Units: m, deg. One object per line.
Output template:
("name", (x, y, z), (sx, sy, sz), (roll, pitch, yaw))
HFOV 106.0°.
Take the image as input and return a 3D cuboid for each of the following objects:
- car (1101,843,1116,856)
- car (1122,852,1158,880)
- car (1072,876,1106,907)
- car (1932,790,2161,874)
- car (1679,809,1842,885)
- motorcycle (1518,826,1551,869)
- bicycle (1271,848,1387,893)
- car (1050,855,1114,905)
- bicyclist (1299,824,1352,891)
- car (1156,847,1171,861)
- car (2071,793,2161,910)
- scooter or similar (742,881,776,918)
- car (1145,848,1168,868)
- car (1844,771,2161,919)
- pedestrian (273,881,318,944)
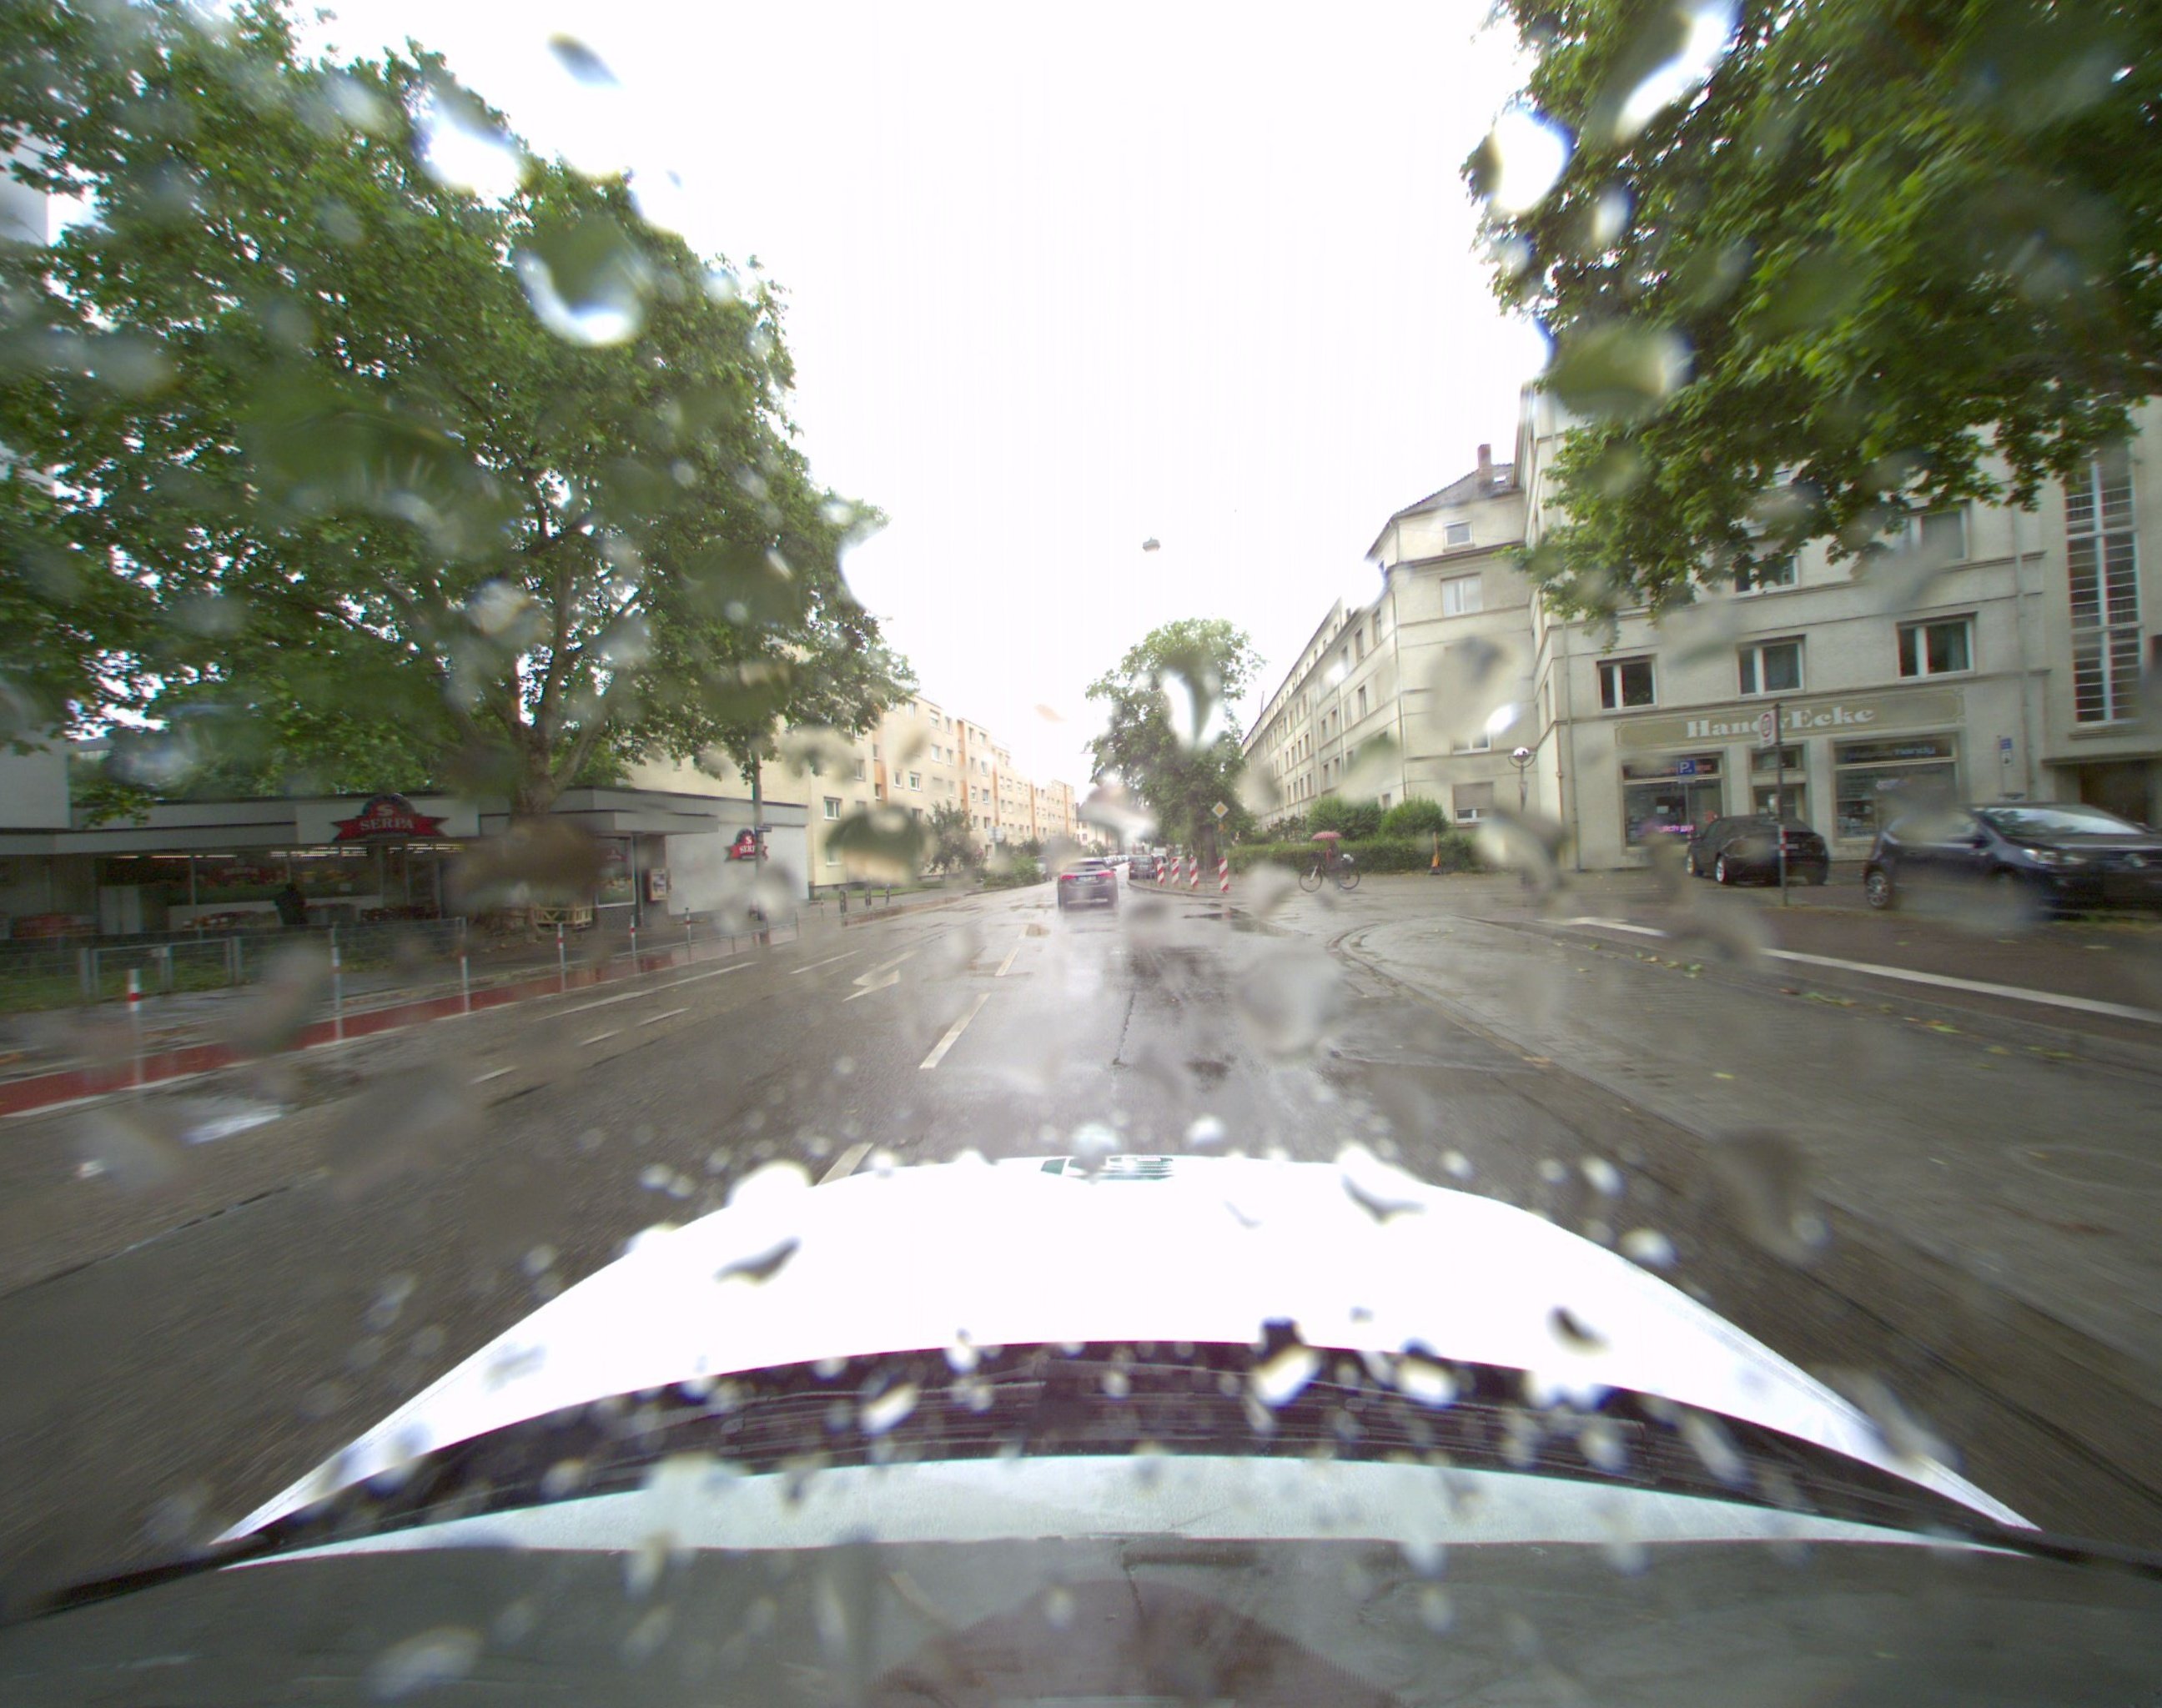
("car", (4.291, -0.720, 126.354), (1.880, 1.836, 4.007), (-3, -1, 6))
("car", (3.643, 0.712, 50.715), (1.986, 1.574, 4.001), (-3, -1, 1))
("car", (0.480, 1.958, 43.387), (1.601, 1.372, 4.003), (-4, 0, 2))
("car", (21.586, -0.461, 18.228), (1.975, 1.628, 4.657), (0, 1, 25))
("car", (16.520, -0.180, 20.106), (1.975, 1.628, 4.657), (0, 1, 25))
("motorcycle", (15.848, -0.231, 28.517), (0.867, 1.392, 3.023), (-4, 0, 27))
("bicycle", (7.363, 0.471, 24.181), (3.213, 1.112, 1.048), (-3, 0, -16))
("car", (0.107, 0.744, 25.026), (1.784, 1.372, 3.509), (-2, 0, 2))
("bicyclist", (7.220, 0.106, 24.100), (0.940, 1.868, 1.136), (-3, 0, -16))
("car", (12.110, -0.018, 118.744), (2.036, 1.836, 4.800), (-3, -1, 6))
("car", (14.058, -0.089, 9.397), (1.514, 1.457, 3.401), (-3, -3, 13))
("scooter or similar", (-11.851, 1.656, 29.991), (0.435, 1.266, 1.379), (-3, -1, 9))
("car", (6.695, 0.357, 72.126), (1.880, 1.574, 4.007), (-3, -1, 6))
("car", (11.976, -0.058, 10.514), (1.675, 1.551, 3.538), (-3, -3, 18))
("pedestrian", (-21.032, 1.559, 21.811), (0.569, 1.629, 0.638), (-3, -1, -12))
